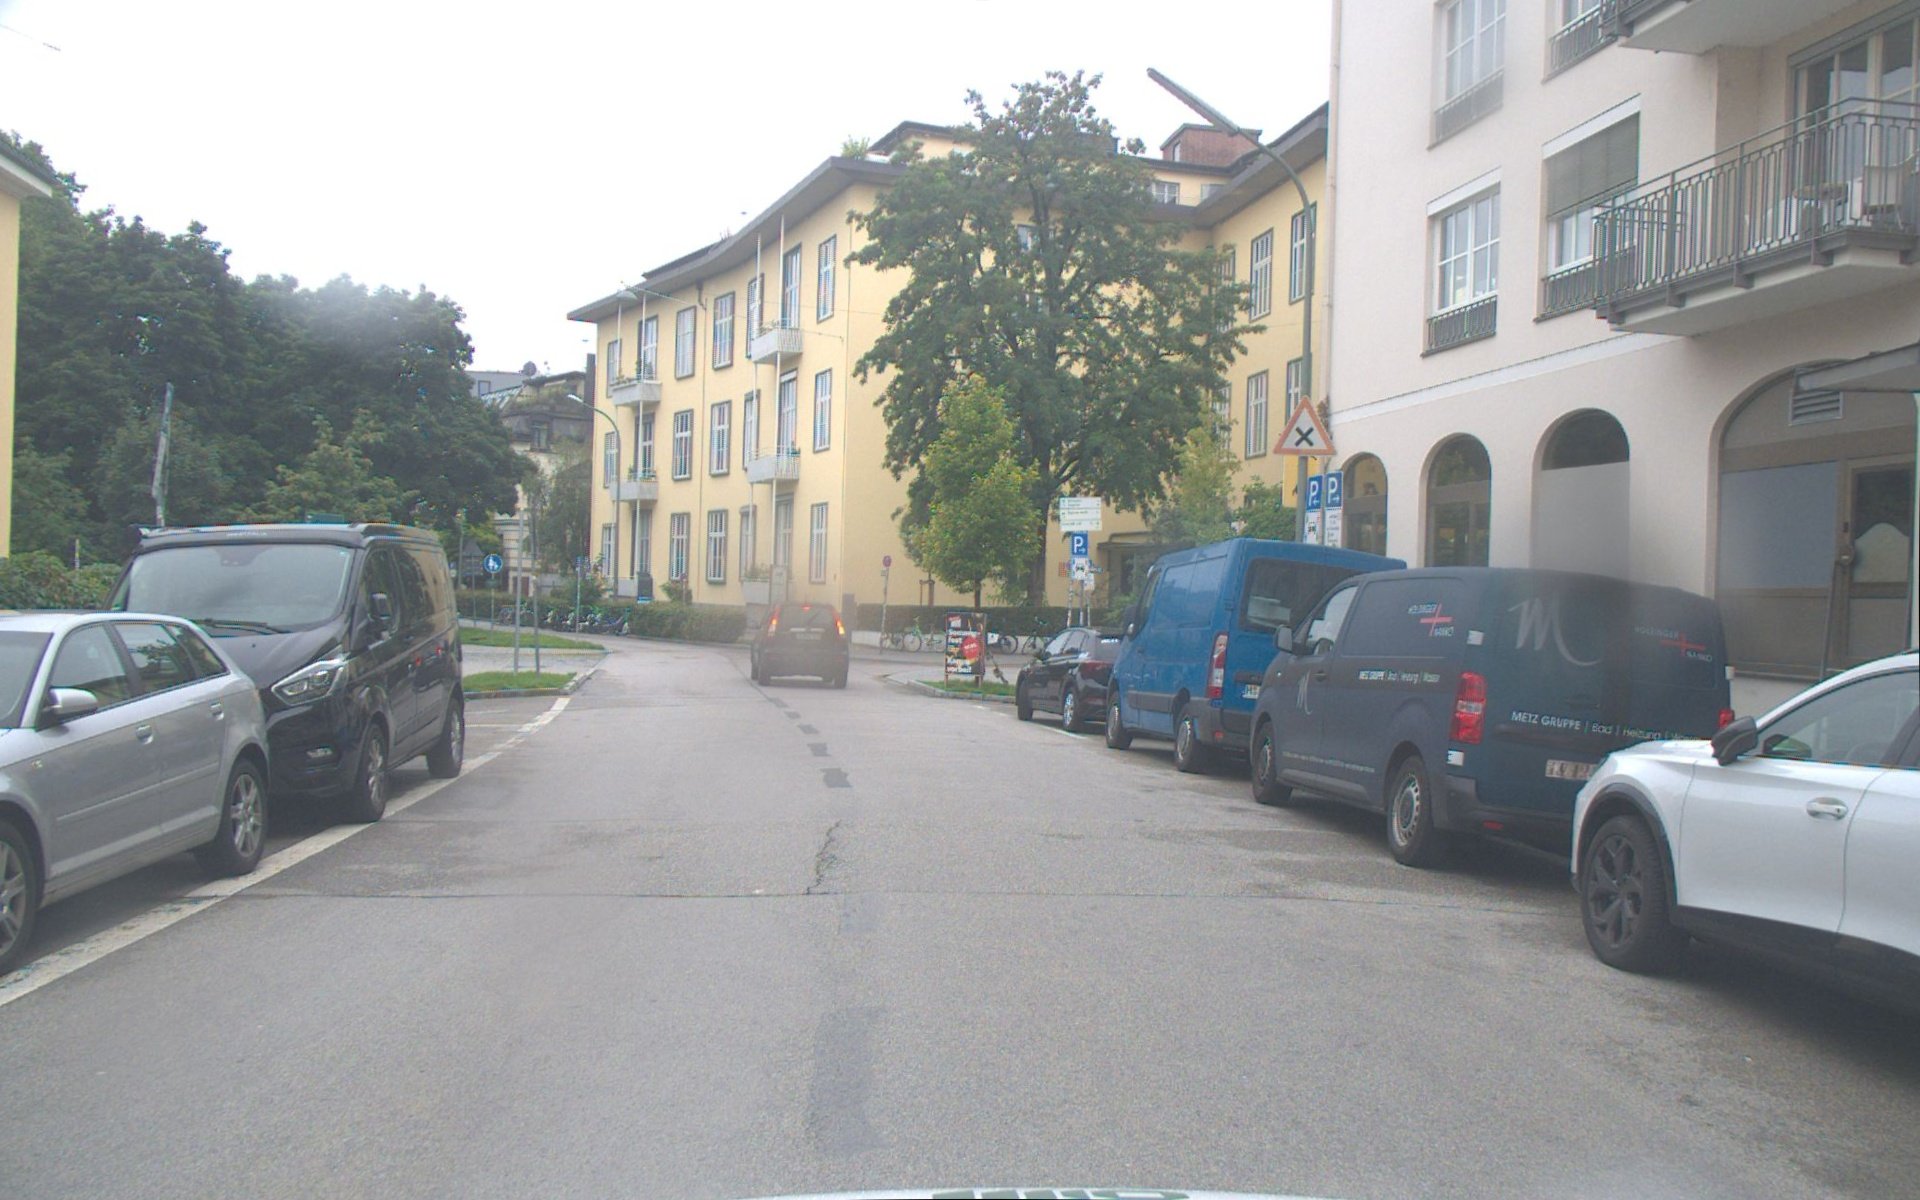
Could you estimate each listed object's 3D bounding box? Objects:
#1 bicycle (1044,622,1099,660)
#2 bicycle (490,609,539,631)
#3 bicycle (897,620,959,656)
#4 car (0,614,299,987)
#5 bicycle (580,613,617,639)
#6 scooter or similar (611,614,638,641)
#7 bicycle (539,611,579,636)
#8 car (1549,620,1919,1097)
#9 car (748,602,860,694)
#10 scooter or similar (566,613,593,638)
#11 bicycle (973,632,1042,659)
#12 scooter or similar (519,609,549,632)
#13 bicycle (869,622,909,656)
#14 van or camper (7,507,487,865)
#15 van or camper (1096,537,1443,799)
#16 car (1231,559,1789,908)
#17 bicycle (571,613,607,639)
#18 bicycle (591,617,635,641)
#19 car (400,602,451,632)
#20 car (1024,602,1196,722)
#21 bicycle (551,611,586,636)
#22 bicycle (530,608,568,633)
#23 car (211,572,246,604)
[{"bbox_3d":[3.662,1.342,54.277,1.700,1.170,0.610,2,-1,-4],"label":"bicycle"},{"bbox_3d":[-22.206,0.989,82.462,2.315,1.104,0.683,1,0,-39],"label":"bicycle"},{"bbox_3d":[-1.081,1.262,55.268,2.176,1.136,0.607,1,-1,41],"label":"bicycle"},{"bbox_3d":[-4.497,0.799,7.342,1.587,1.402,4.070,-2,0,-2],"label":"car"},{"bbox_3d":[-16.088,1.154,73.698,0.564,1.104,1.933,1,0,23],"label":"bicycle"},{"bbox_3d":[-14.279,1.161,70.421,0.485,1.128,1.410,1,0,19],"label":"scooter or similar"},{"bbox_3d":[-18.265,1.050,75.419,0.681,1.104,2.340,1,0,16],"label":"bicycle"},{"bbox_3d":[4.040,0.958,6.092,1.706,1.564,4.267,6,-1,-7],"label":"car"},{"bbox_3d":[-3.301,0.946,34.313,1.959,1.724,4.370,2,0,-10],"label":"car"},{"bbox_3d":[-17.141,1.124,74.487,0.485,1.107,1.410,1,0,19],"label":"scooter or similar"},{"bbox_3d":[1.545,1.492,54.109,2.163,0.793,0.611,2,-1,12],"label":"bicycle"},{"bbox_3d":[-20.839,1.008,80.951,1.382,1.107,0.594,1,0,-16],"label":"scooter or similar"},{"bbox_3d":[-2.485,1.338,57.337,0.600,1.091,2.200,1,0,-24],"label":"bicycle"},{"bbox_3d":[-4.941,0.509,12.299,1.923,2.101,4.747,-1,0,-6],"label":"van or camper"},{"bbox_3d":[3.057,0.627,17.769,2.021,2.270,5.430,4,0,-7],"label":"van or camper"},{"bbox_3d":[3.598,0.790,12.008,1.926,1.847,4.930,5,-1,-5],"label":"car"},{"bbox_3d":[-16.641,1.161,74.191,0.564,1.104,1.933,1,0,23],"label":"bicycle"},{"bbox_3d":[-15.009,1.236,71.625,1.808,1.023,0.570,1,0,-36],"label":"bicycle"},{"bbox_3d":[-30.716,0.968,94.991,1.844,1.662,4.238,1,0,-31],"label":"car"},{"bbox_3d":[2.067,0.831,23.839,1.671,1.544,3.953,2,0,-6],"label":"car"},{"bbox_3d":[-17.675,1.058,74.763,0.623,1.104,1.987,1,0,16],"label":"bicycle"},{"bbox_3d":[-19.157,0.954,77.086,0.746,1.104,2.142,1,0,16],"label":"bicycle"},{"bbox_3d":[-62.077,-0.984,140.281,1.859,2.613,4.874,2,-1,-34],"label":"car"}]
